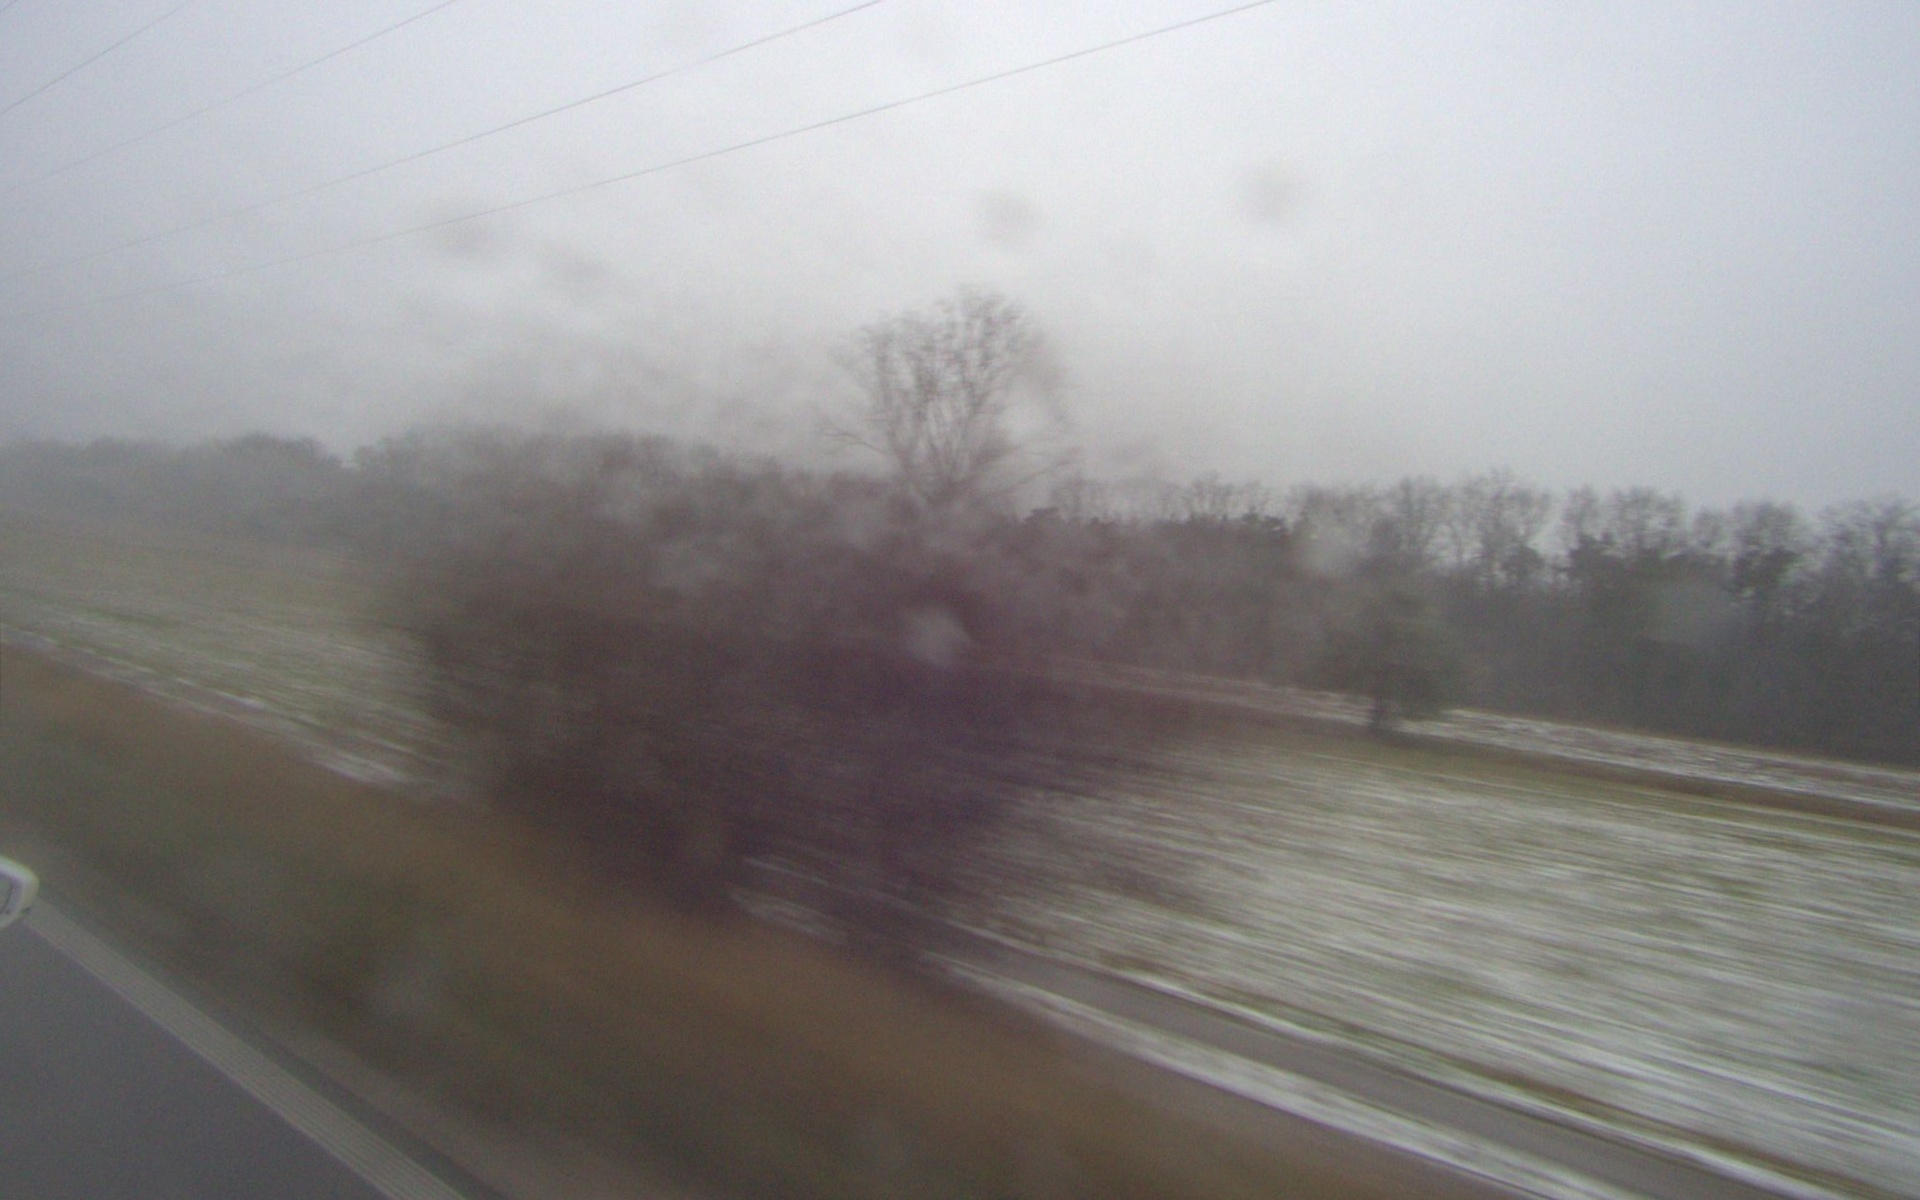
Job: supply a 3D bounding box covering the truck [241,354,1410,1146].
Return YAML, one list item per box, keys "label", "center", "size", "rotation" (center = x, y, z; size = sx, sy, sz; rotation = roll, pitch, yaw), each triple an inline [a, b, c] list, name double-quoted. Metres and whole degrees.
- label: "truck"
  center: [-1.418, 0.307, 6.875]
  size: [7.725, 3.013, 2.539]
  rotation: [7, -1, 31]
